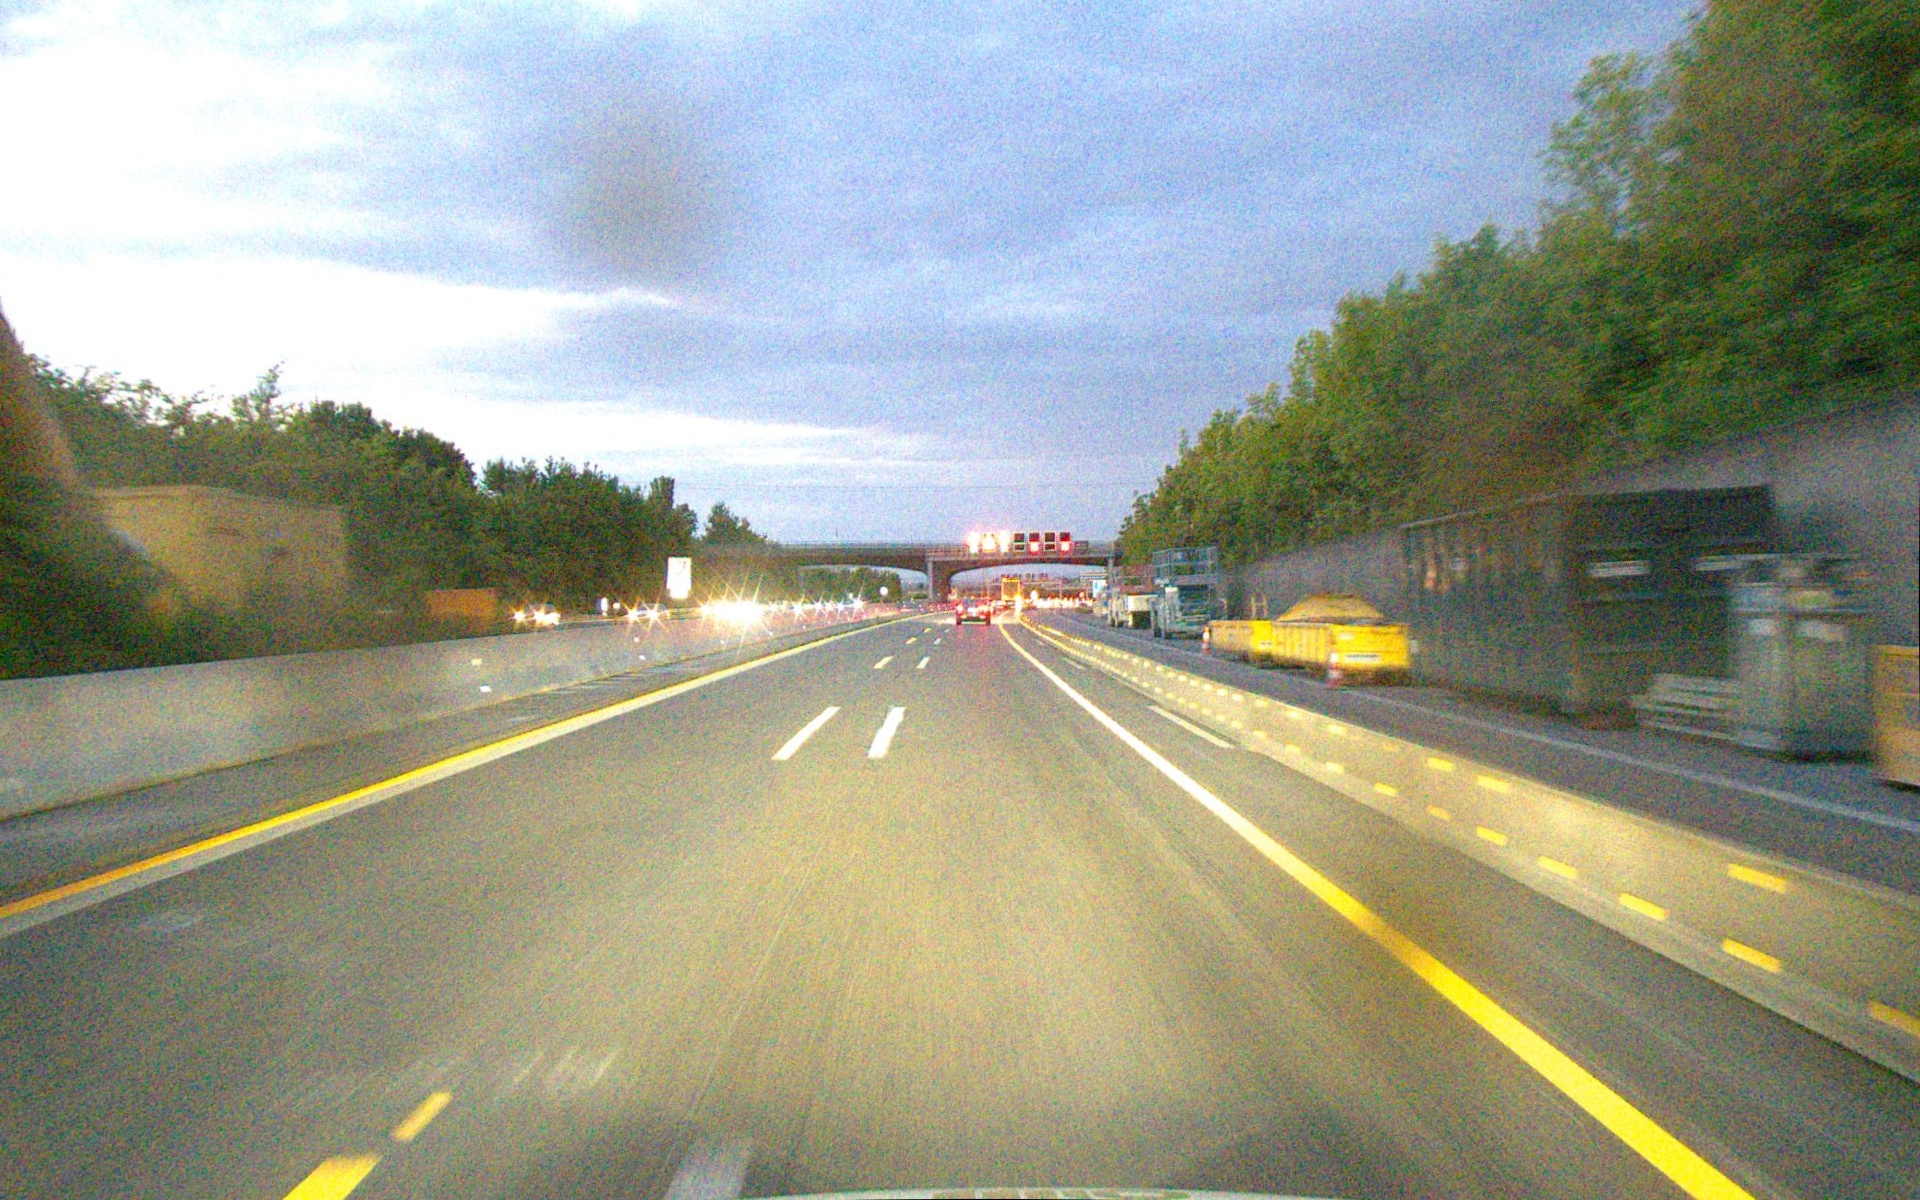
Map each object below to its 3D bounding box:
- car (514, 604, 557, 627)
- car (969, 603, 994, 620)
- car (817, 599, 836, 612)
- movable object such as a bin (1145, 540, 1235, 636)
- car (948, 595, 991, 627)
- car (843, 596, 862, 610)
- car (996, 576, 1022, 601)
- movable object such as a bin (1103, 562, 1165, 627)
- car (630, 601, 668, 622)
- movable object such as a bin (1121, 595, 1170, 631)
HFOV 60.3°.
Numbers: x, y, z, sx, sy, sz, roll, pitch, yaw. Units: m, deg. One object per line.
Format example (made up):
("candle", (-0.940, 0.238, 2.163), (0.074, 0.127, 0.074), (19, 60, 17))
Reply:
("car", (-27.894, 1.017, 108.874), (1.544, 1.495, 4.227), (1, 0, 3))
("car", (1.962, 1.037, 148.956), (1.930, 1.462, 4.002), (1, 0, 6))
("car", (-16.675, 0.723, 206.602), (1.773, 1.511, 4.703), (1, 0, 3))
("movable object such as a bin", (8.470, -0.407, 61.445), (2.511, 3.376, 5.579), (-1, 0, 0))
("car", (0.495, 0.580, 88.128), (2.219, 1.650, 4.000), (1, 0, 0))
("car", (-13.429, 0.384, 206.525), (1.861, 1.768, 4.809), (1, 0, 3))
("car", (7.143, -1.601, 240.799), (3.530, 3.455, 8.016), (1, 0, 2))
("movable object such as a bin", (8.811, -0.247, 84.402), (2.567, 3.162, 5.806), (0, 0, 0))
("car", (-22.870, 0.850, 121.723), (1.638, 1.495, 4.648), (1, 0, 3))
("movable object such as a bin", (8.892, 0.612, 79.435), (1.952, 1.629, 4.085), (-1, -1, 1))
